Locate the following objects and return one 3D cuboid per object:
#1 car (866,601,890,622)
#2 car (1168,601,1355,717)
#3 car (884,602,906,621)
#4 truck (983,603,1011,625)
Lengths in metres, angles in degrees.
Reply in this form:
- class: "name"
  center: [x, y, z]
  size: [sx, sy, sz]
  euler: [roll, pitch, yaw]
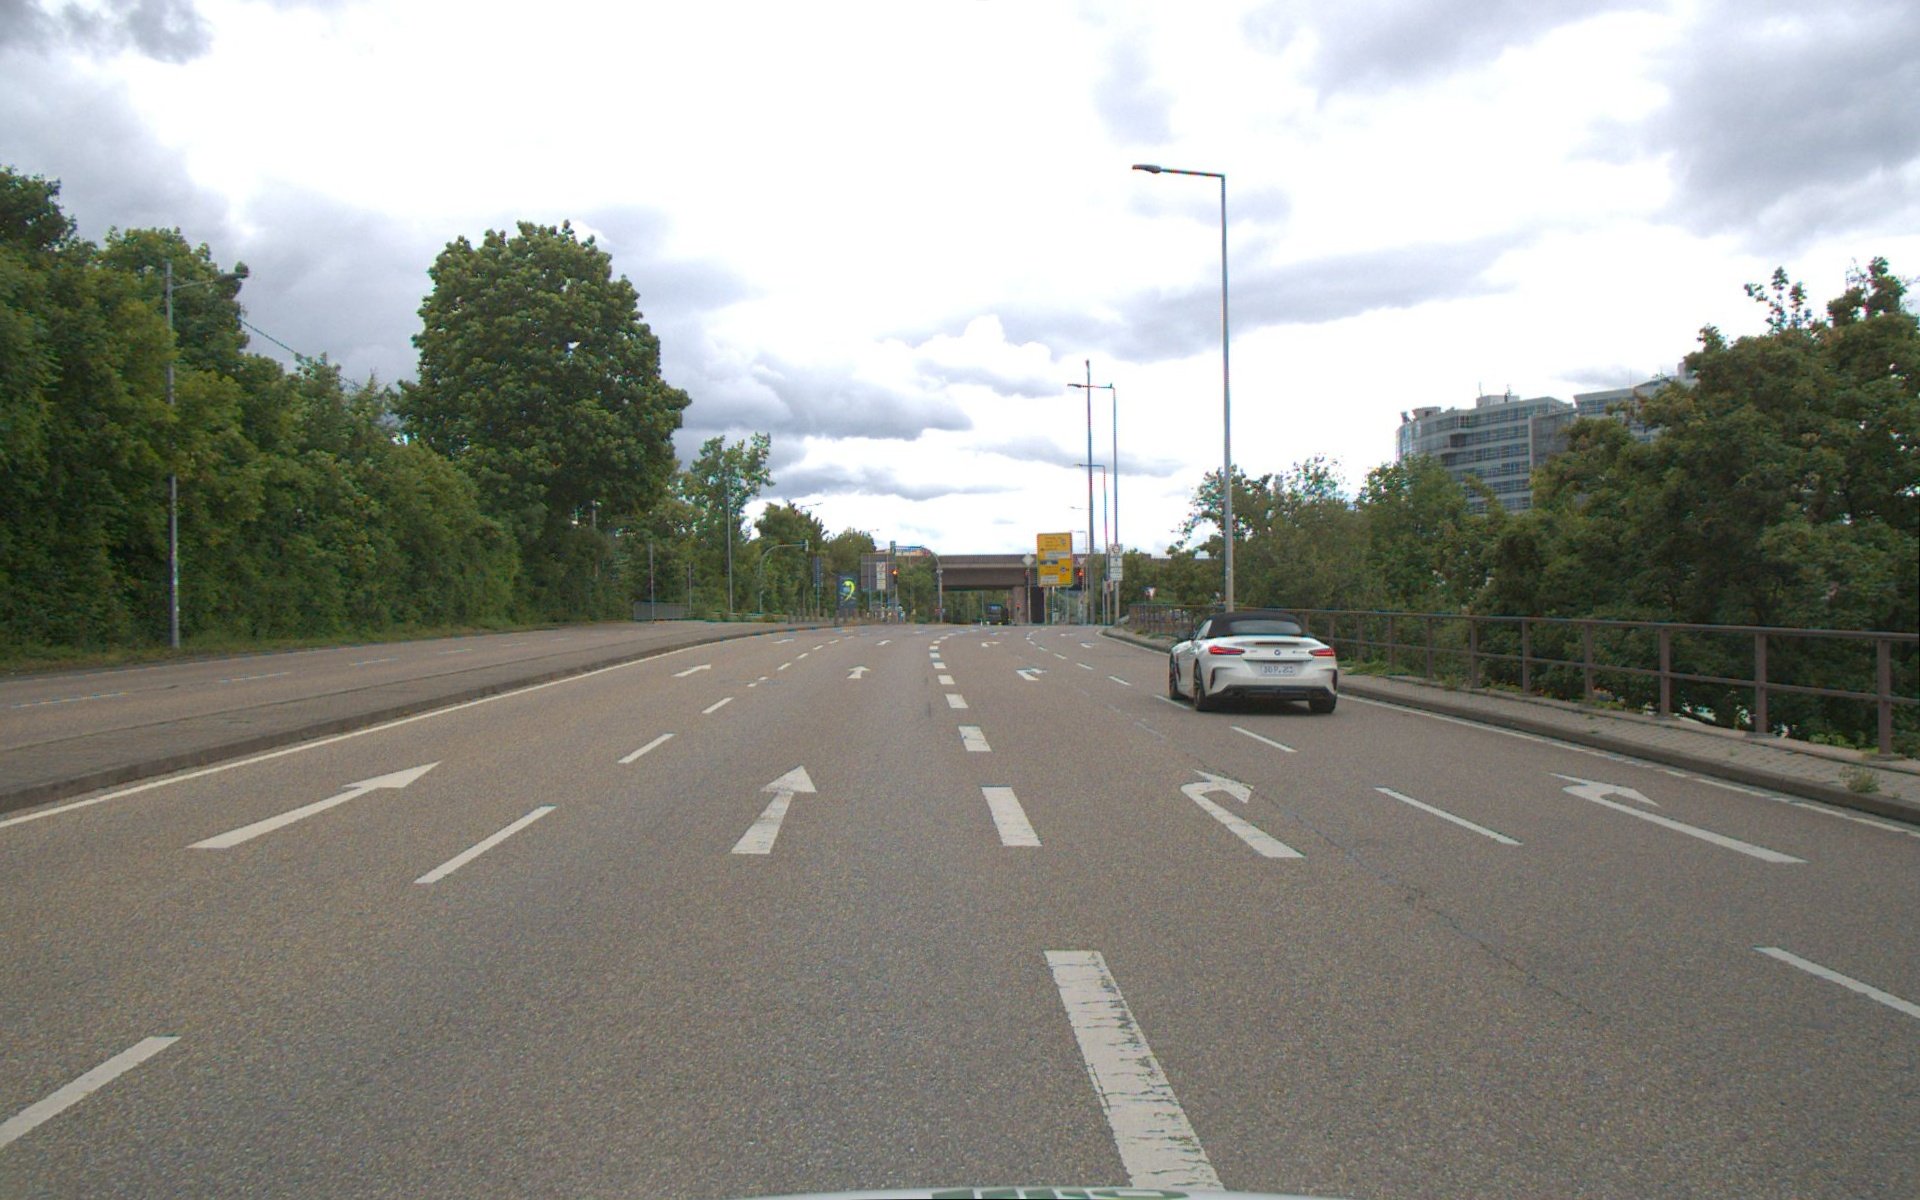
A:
- class: "car"
  center: [-6.847, 0.951, 138.803]
  size: [1.735, 1.674, 3.825]
  euler: [1, -1, 1]
- class: "car"
  center: [4.058, 0.745, 22.877]
  size: [1.836, 1.332, 3.873]
  euler: [3, 1, 0]
- class: "car"
  center: [-5.826, 1.005, 148.369]
  size: [1.735, 1.661, 3.825]
  euler: [1, -1, 1]
- class: "truck"
  center: [5.871, 2.252, 261.311]
  size: [2.861, 3.201, 10.119]
  euler: [1, -1, 9]
